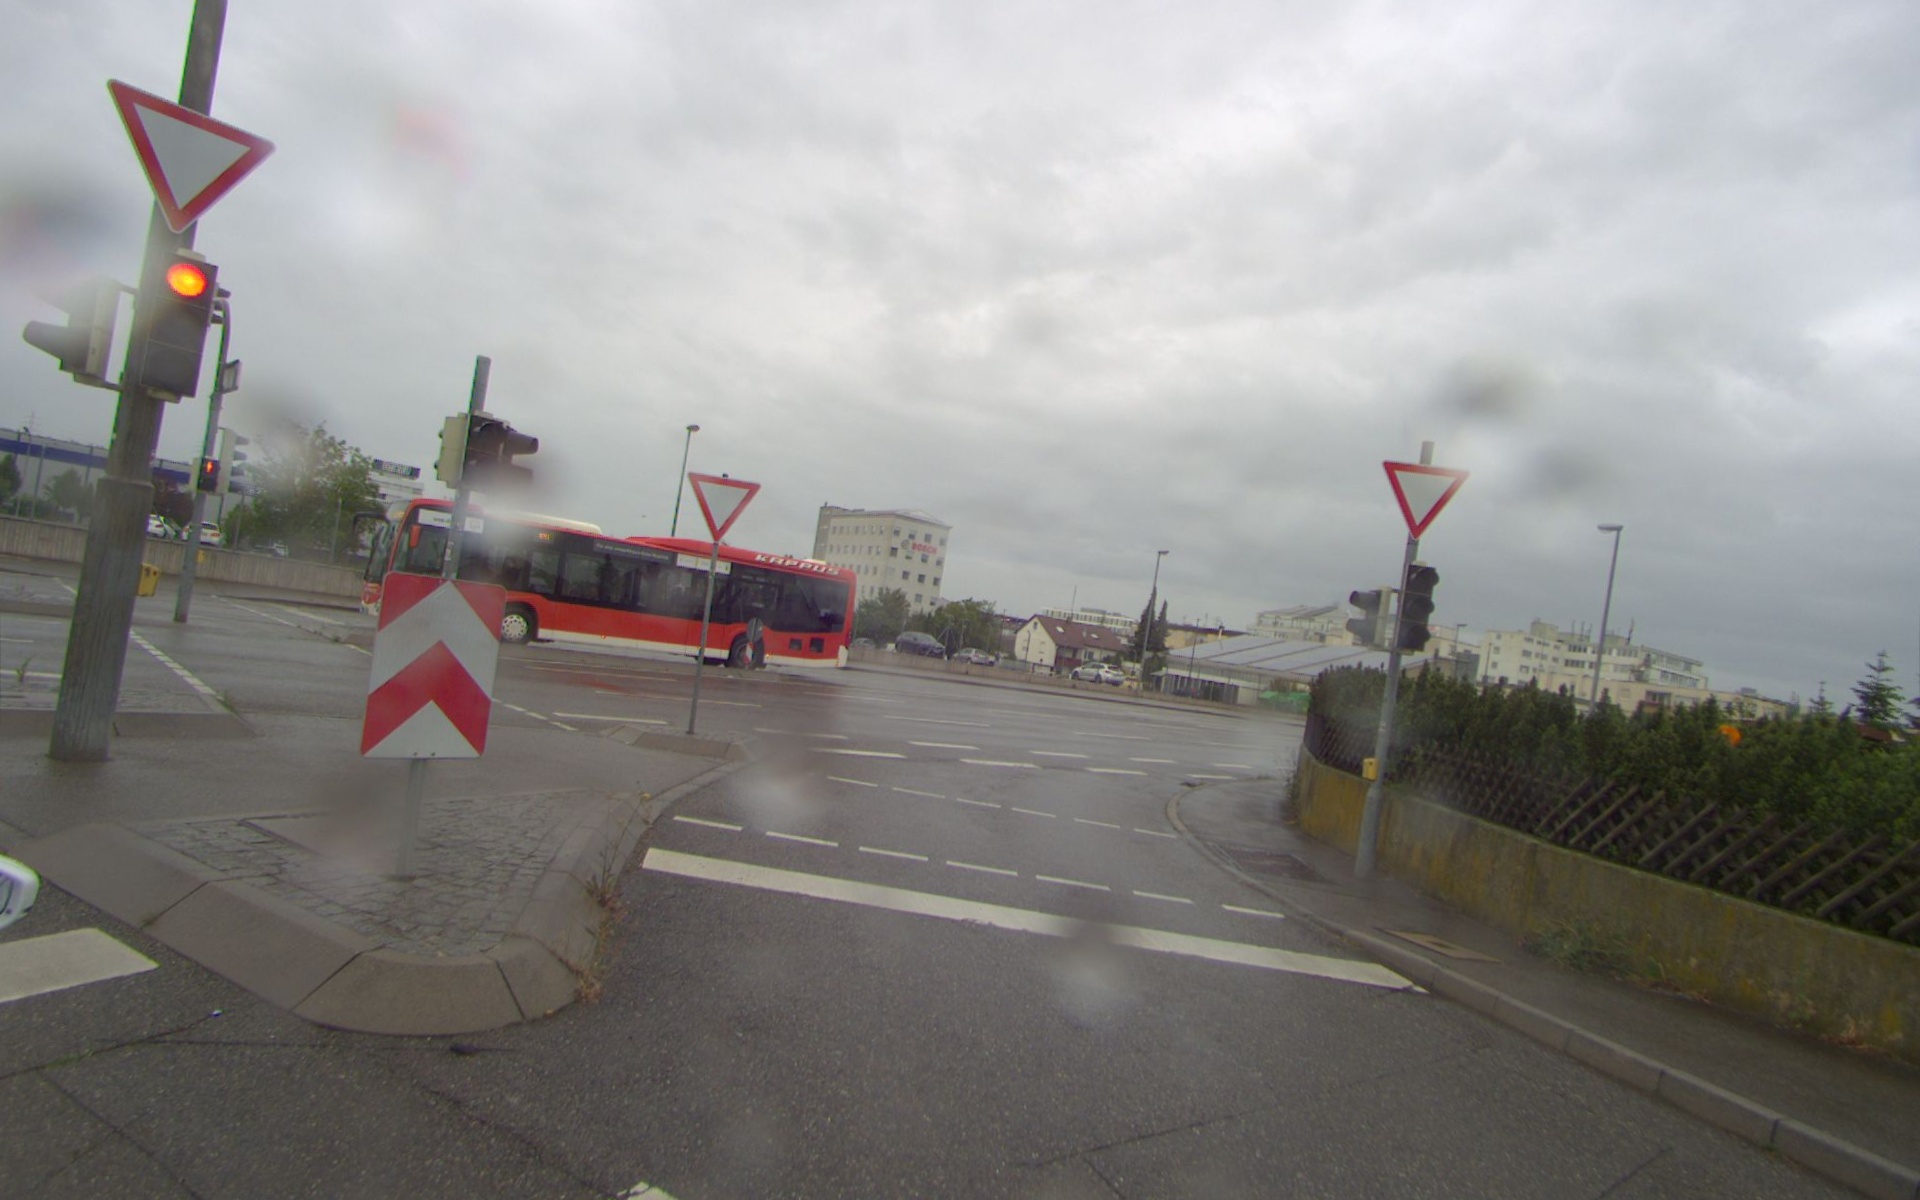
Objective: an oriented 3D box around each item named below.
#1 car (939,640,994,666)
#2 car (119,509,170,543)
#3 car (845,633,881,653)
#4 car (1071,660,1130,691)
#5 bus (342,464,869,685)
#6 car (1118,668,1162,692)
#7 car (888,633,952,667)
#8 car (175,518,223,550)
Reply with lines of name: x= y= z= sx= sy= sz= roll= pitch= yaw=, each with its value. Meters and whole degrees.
car: x=0.540 y=4.349 z=82.223 sx=3.951 sy=1.494 sz=1.989 roll=9 pitch=-2 yaw=-24
car: x=-45.621 y=-4.145 z=56.356 sx=1.985 sy=1.495 sz=3.959 roll=10 pitch=-2 yaw=-38
car: x=-9.743 y=4.310 z=100.563 sx=1.979 sy=1.494 sz=3.971 roll=9 pitch=-2 yaw=-29
car: x=9.733 y=5.231 z=70.051 sx=1.979 sy=1.494 sz=3.971 roll=9 pitch=-2 yaw=-29
bus: x=-8.341 y=-0.285 z=25.821 sx=12.245 sy=3.357 sz=3.039 roll=12 pitch=-3 yaw=-41
car: x=17.934 y=7.985 z=100.206 sx=3.760 sy=1.771 sz=1.887 roll=9 pitch=-2 yaw=-29
car: x=-2.477 y=3.072 z=61.953 sx=1.983 sy=1.495 sz=3.964 roll=9 pitch=-2 yaw=-34
car: x=-43.901 y=-3.819 z=58.024 sx=1.986 sy=1.495 sz=3.958 roll=10 pitch=-2 yaw=-38
